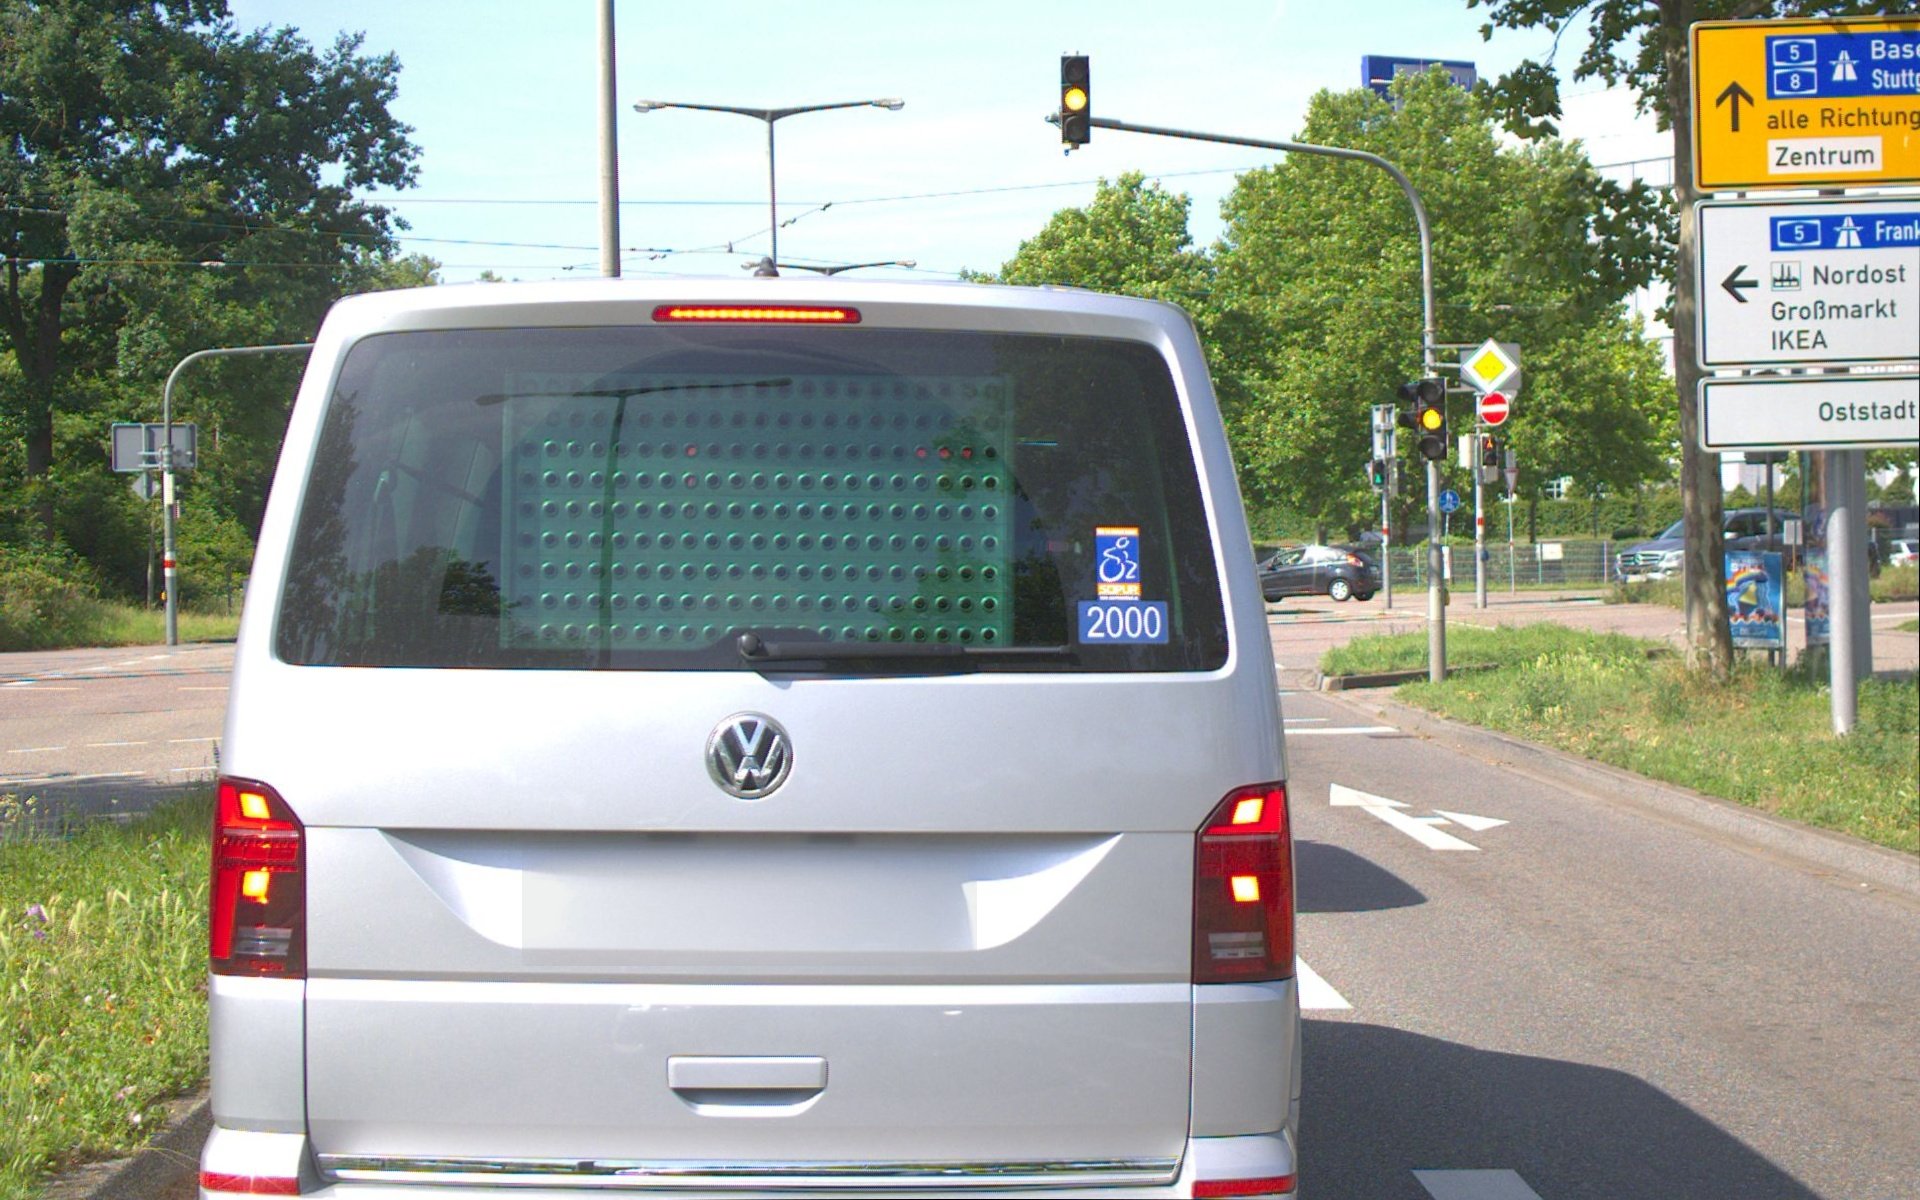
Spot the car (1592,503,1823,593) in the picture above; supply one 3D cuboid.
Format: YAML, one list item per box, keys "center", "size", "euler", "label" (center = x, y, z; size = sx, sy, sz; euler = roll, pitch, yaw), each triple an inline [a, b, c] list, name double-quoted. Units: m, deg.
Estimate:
- center: [14.967, -1.049, 68.750]
  size: [4.613, 1.683, 1.915]
  euler: [-2, 1, -37]
  label: "car"

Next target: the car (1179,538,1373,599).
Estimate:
- center: [8.044, -0.792, 87.627]
  size: [4.620, 1.439, 1.778]
  euler: [-1, 1, 35]
  label: "car"

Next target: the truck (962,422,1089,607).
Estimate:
- center: [1.423, -1.921, 79.041]
  size: [2.552, 3.943, 8.975]
  euler: [-1, 1, -1]
  label: "truck"

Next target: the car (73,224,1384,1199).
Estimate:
- center: [-0.369, 0.391, 7.645]
  size: [1.941, 1.965, 5.022]
  euler: [-1, 1, -1]
  label: "car"

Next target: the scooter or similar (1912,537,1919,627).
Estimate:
- center: [12.132, -0.223, 42.396]
  size: [0.424, 1.122, 1.124]
  euler: [-1, 1, -1]
  label: "scooter or similar"
